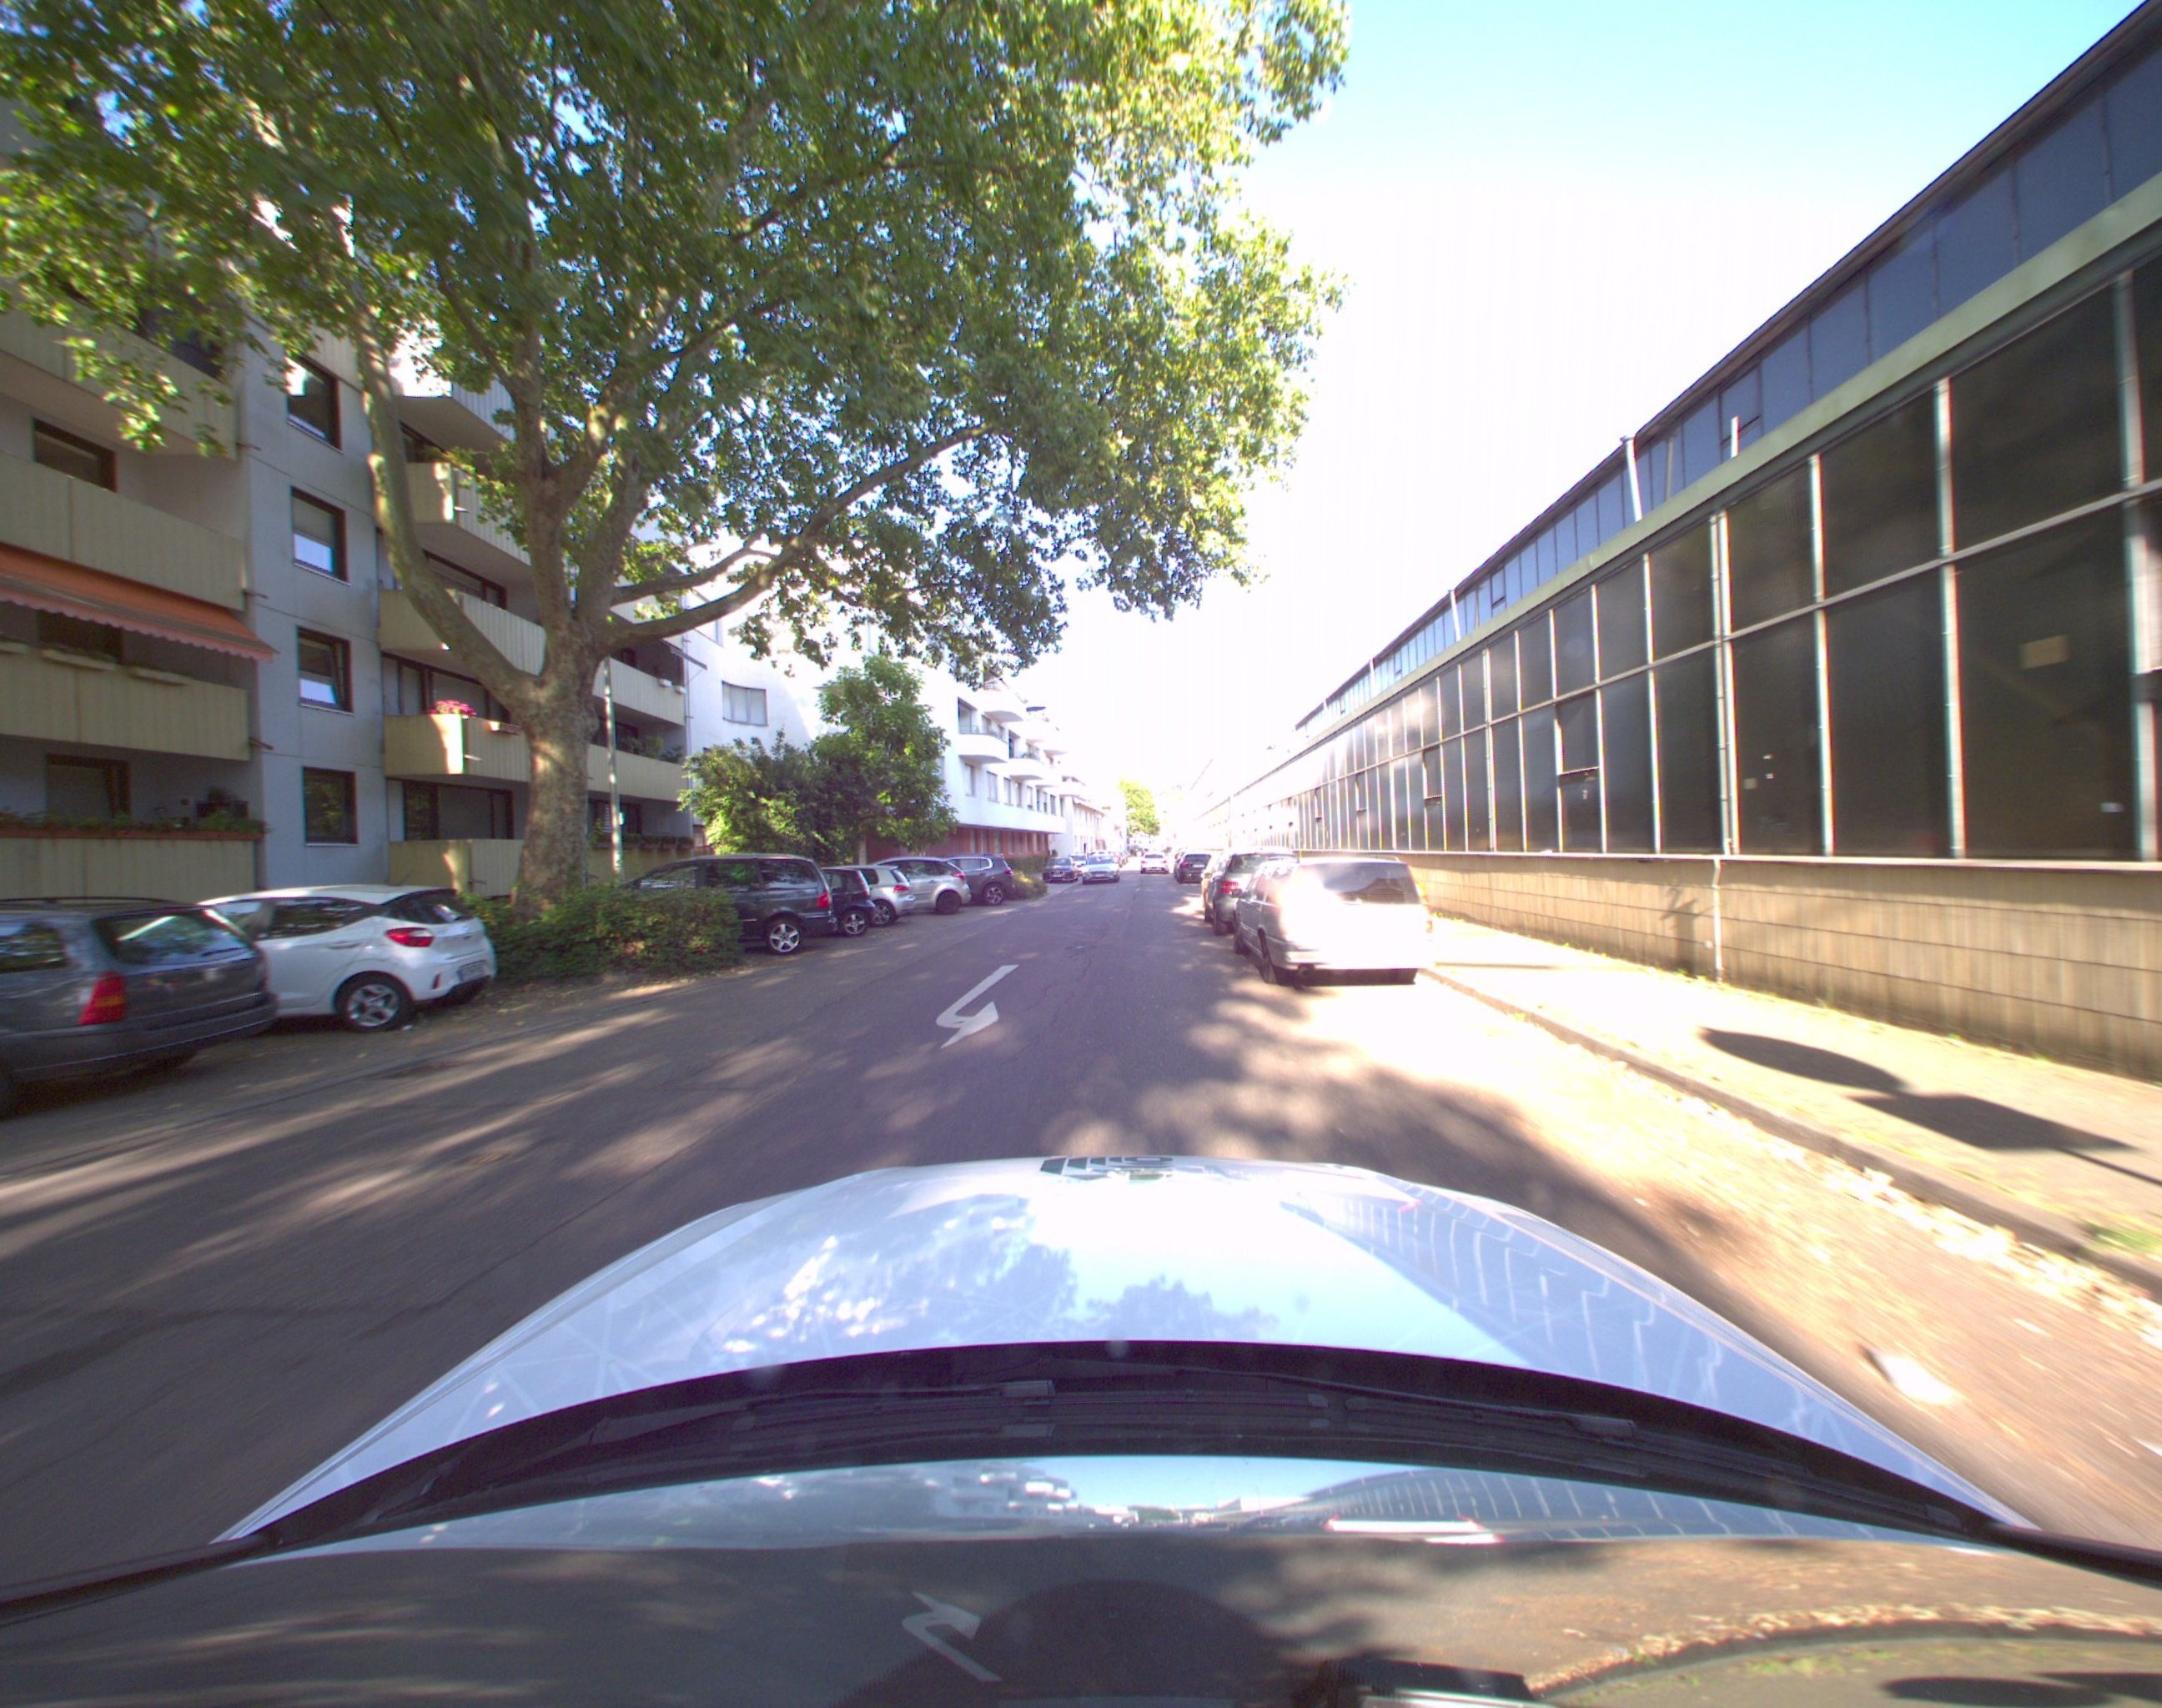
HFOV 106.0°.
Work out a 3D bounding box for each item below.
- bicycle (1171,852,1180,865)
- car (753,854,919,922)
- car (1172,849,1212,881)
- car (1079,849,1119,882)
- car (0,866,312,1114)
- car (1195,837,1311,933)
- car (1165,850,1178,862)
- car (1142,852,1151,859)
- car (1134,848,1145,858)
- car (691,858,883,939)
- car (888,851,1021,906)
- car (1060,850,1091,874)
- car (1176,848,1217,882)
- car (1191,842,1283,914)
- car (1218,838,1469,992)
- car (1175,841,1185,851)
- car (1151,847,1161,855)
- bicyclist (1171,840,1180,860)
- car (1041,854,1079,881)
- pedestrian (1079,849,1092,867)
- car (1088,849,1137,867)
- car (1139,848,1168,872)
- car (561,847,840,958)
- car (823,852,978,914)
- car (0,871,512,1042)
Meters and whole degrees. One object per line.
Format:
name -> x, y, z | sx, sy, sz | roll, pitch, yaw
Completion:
bicycle -> 8.473, 0.401, 73.059 | 0.694, 1.130, 2.407 | 0, -1, 7
car -> -5.923, 0.789, 20.037 | 3.634, 1.561, 1.696 | 0, -1, -7
car -> 5.885, 0.578, 43.695 | 1.799, 1.587, 4.409 | 1, 0, 4
car -> 0.986, 0.570, 42.122 | 1.892, 1.536, 4.623 | -2, 0, 2
car -> -8.503, 0.942, 6.084 | 3.642, 1.661, 1.643 | 0, -1, -13
car -> 3.253, 0.557, 16.139 | 1.742, 1.635, 4.315 | 0, -1, 5
car -> 14.495, 0.322, 131.060 | 1.845, 1.791, 4.612 | -1, 0, 4
car -> 13.811, 0.299, 171.175 | 1.696, 1.575, 3.920 | -1, 0, 6
car -> 11.014, -0.268, 152.489 | 1.843, 1.791, 4.617 | -1, 0, 7
car -> -6.187, 0.872, 17.350 | 3.651, 1.561, 1.688 | 0, -1, -21
car -> -4.084, 0.742, 26.327 | 3.964, 1.662, 1.687 | 0, -1, -23
car -> -0.336, 0.570, 56.949 | 1.850, 1.587, 4.624 | 1, 0, 3
car -> 5.398, 0.484, 38.487 | 1.742, 1.491, 4.628 | 1, 0, 5
car -> 3.839, 0.564, 20.609 | 1.743, 1.635, 4.004 | 0, -1, 3
car -> 2.952, 0.617, 10.251 | 1.892, 1.493, 4.532 | 0, 0, 3
car -> 16.400, -1.292, 135.049 | 1.621, 1.587, 4.076 | -4, -1, 6
car -> 14.949, -0.549, 161.912 | 1.833, 1.491, 4.150 | 0, 0, 5
bicyclist -> 8.471, -0.375, 73.014 | 0.694, 1.790, 1.043 | 0, -1, 7
car -> -1.131, 0.729, 45.158 | 1.667, 1.433, 3.775 | 1, 0, 4
pedestrian -> 0.482, 0.450, 85.166 | 0.853, 1.818, 1.139 | 2, 1, 29
car -> 2.824, 0.354, 72.432 | 4.302, 1.535, 1.691 | 1, -1, 3
car -> 4.769, 0.396, 53.395 | 1.833, 1.491, 4.150 | 0, 0, 5
car -> -6.554, 0.776, 14.578 | 4.267, 1.775, 1.894 | 0, -1, -18
car -> -5.164, 0.781, 23.206 | 4.139, 1.640, 1.765 | 0, -1, -19
car -> -8.619, 0.972, 8.770 | 3.653, 1.494, 1.769 | 0, 1, -13
